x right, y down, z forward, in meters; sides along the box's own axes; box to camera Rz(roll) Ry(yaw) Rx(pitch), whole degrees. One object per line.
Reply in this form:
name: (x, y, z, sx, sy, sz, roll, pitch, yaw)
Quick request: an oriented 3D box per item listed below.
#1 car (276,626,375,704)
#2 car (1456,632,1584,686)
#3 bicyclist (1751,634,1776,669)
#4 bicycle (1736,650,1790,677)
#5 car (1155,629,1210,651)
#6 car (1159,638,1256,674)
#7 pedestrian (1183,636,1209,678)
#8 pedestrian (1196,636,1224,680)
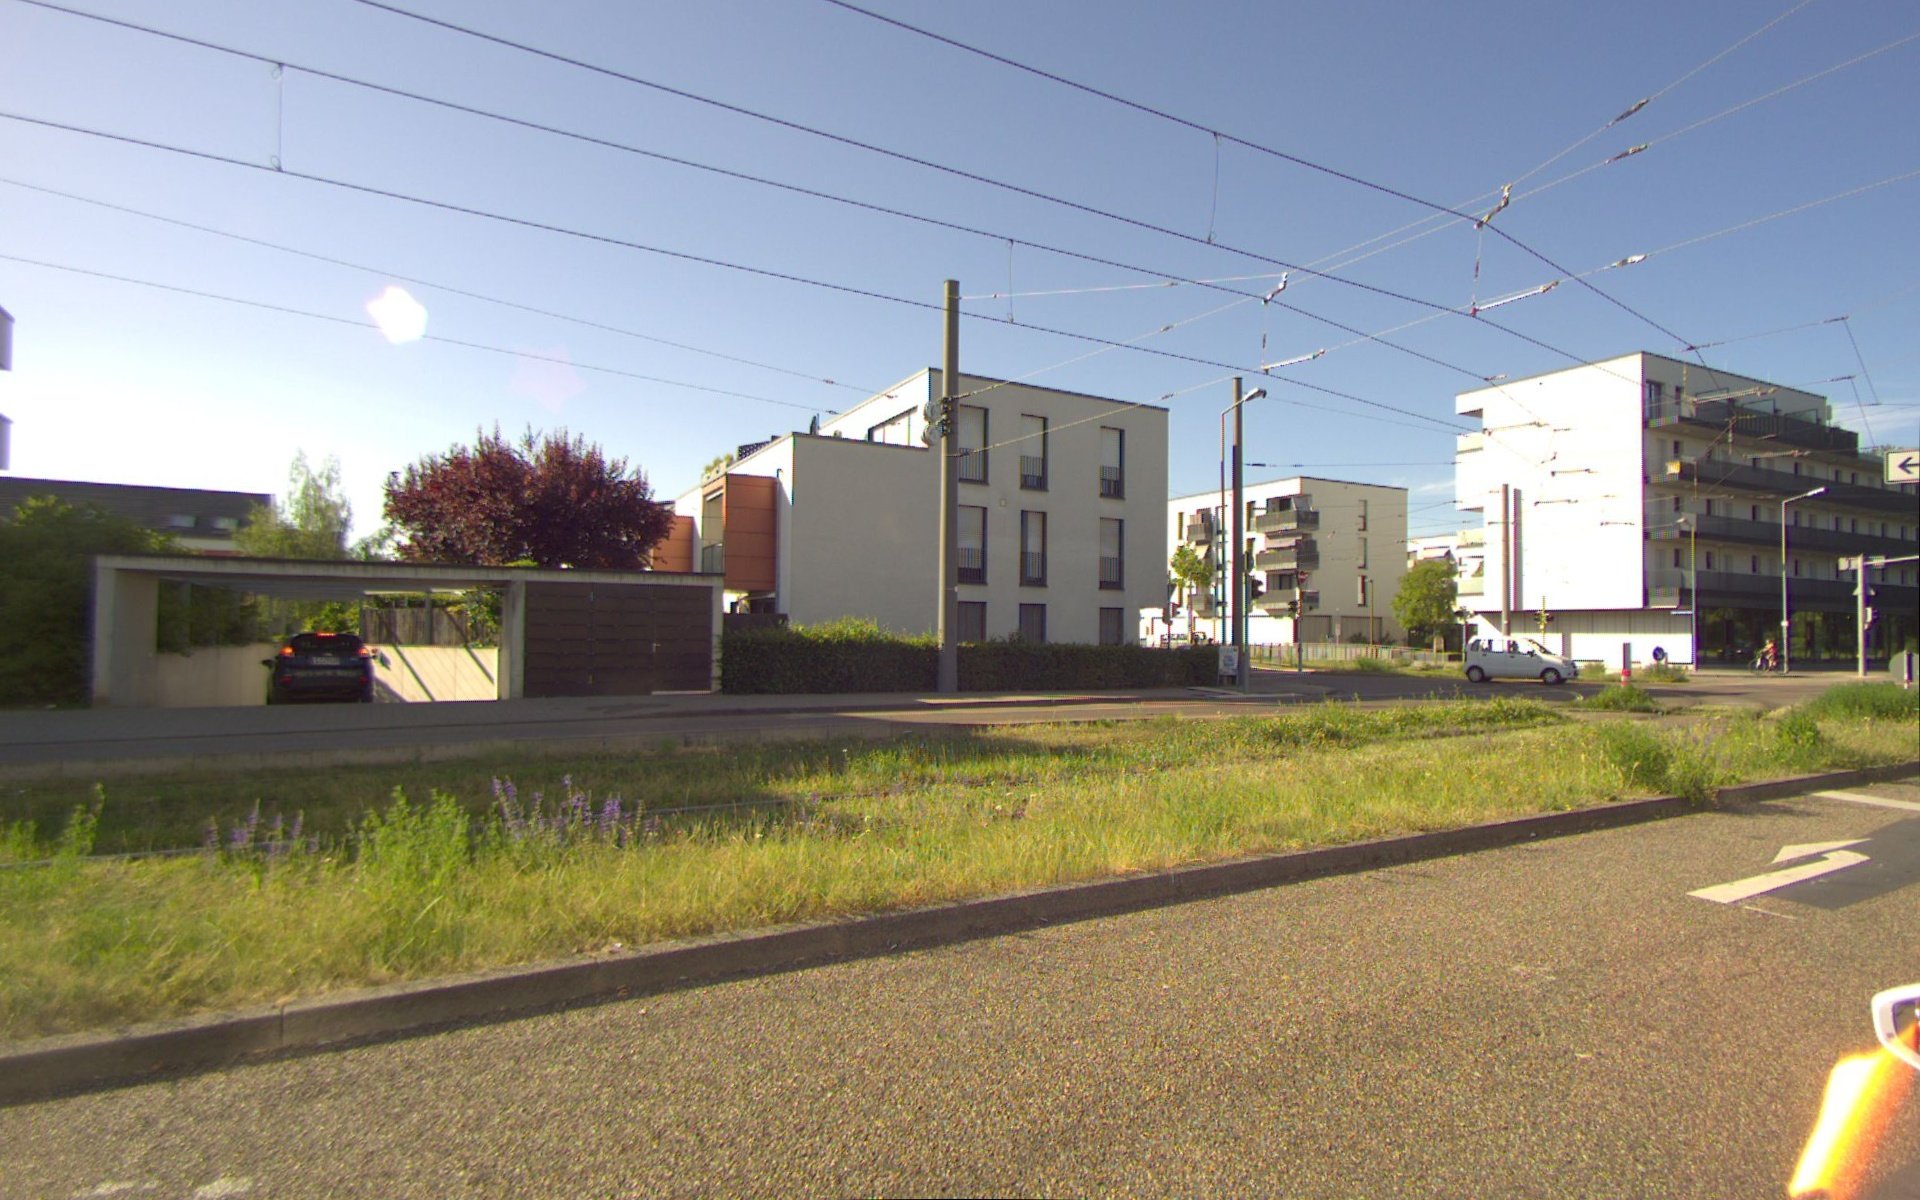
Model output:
car: (-13.058, 1.390, 20.636, 1.560, 1.344, 3.966, 2, -7, -33)
car: (19.588, 2.019, 35.190, 3.632, 1.743, 1.861, -1, -2, 41)
bicyclist: (38.386, 2.446, 47.981, 0.628, 1.635, 0.785, 2, 0, 12)
bicycle: (38.396, 3.029, 48.049, 1.823, 1.139, 0.823, 2, 0, 12)
car: (17.717, 3.169, 80.215, 1.974, 1.595, 4.309, 2, 0, -27)
car: (11.123, 2.505, 45.319, 1.851, 1.505, 4.071, 2, -2, -35)
pedestrian: (9.346, 2.249, 39.767, 0.759, 1.626, 0.741, 2, 0, -9)
pedestrian: (9.735, 2.257, 39.134, 0.759, 1.626, 0.741, 2, 0, -9)
